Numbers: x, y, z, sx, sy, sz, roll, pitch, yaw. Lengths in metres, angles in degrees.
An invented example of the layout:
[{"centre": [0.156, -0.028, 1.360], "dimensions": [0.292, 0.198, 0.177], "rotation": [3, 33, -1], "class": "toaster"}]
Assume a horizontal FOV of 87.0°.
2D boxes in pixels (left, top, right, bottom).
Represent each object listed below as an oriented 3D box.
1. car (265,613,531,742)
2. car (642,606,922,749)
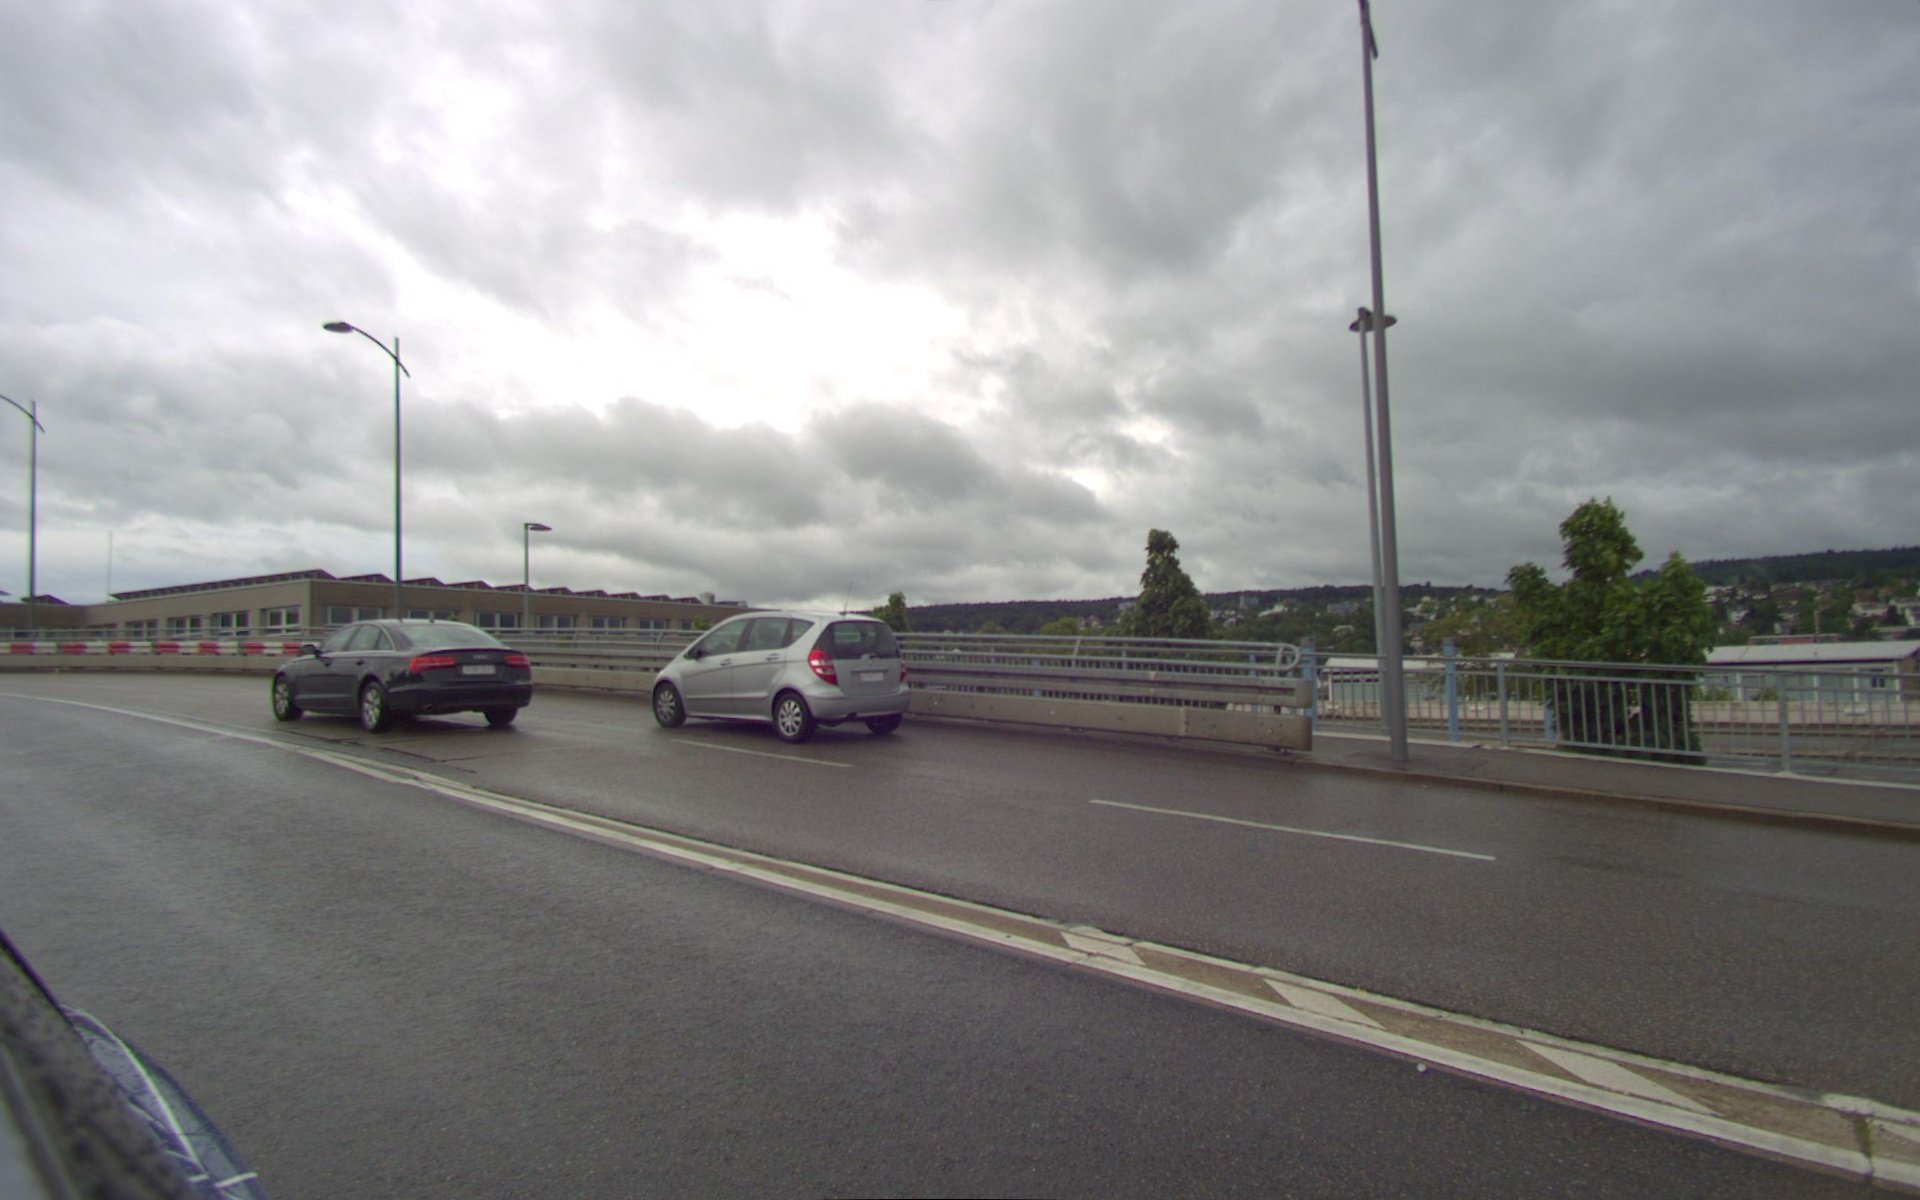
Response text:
[{"centre": [-7.842, 0.956, 13.934], "dimensions": [4.453, 1.502, 1.651], "rotation": [-1, -3, 39], "class": "car"}, {"centre": [-2.420, 0.924, 13.323], "dimensions": [3.708, 1.621, 1.627], "rotation": [-1, -3, 41], "class": "car"}]
